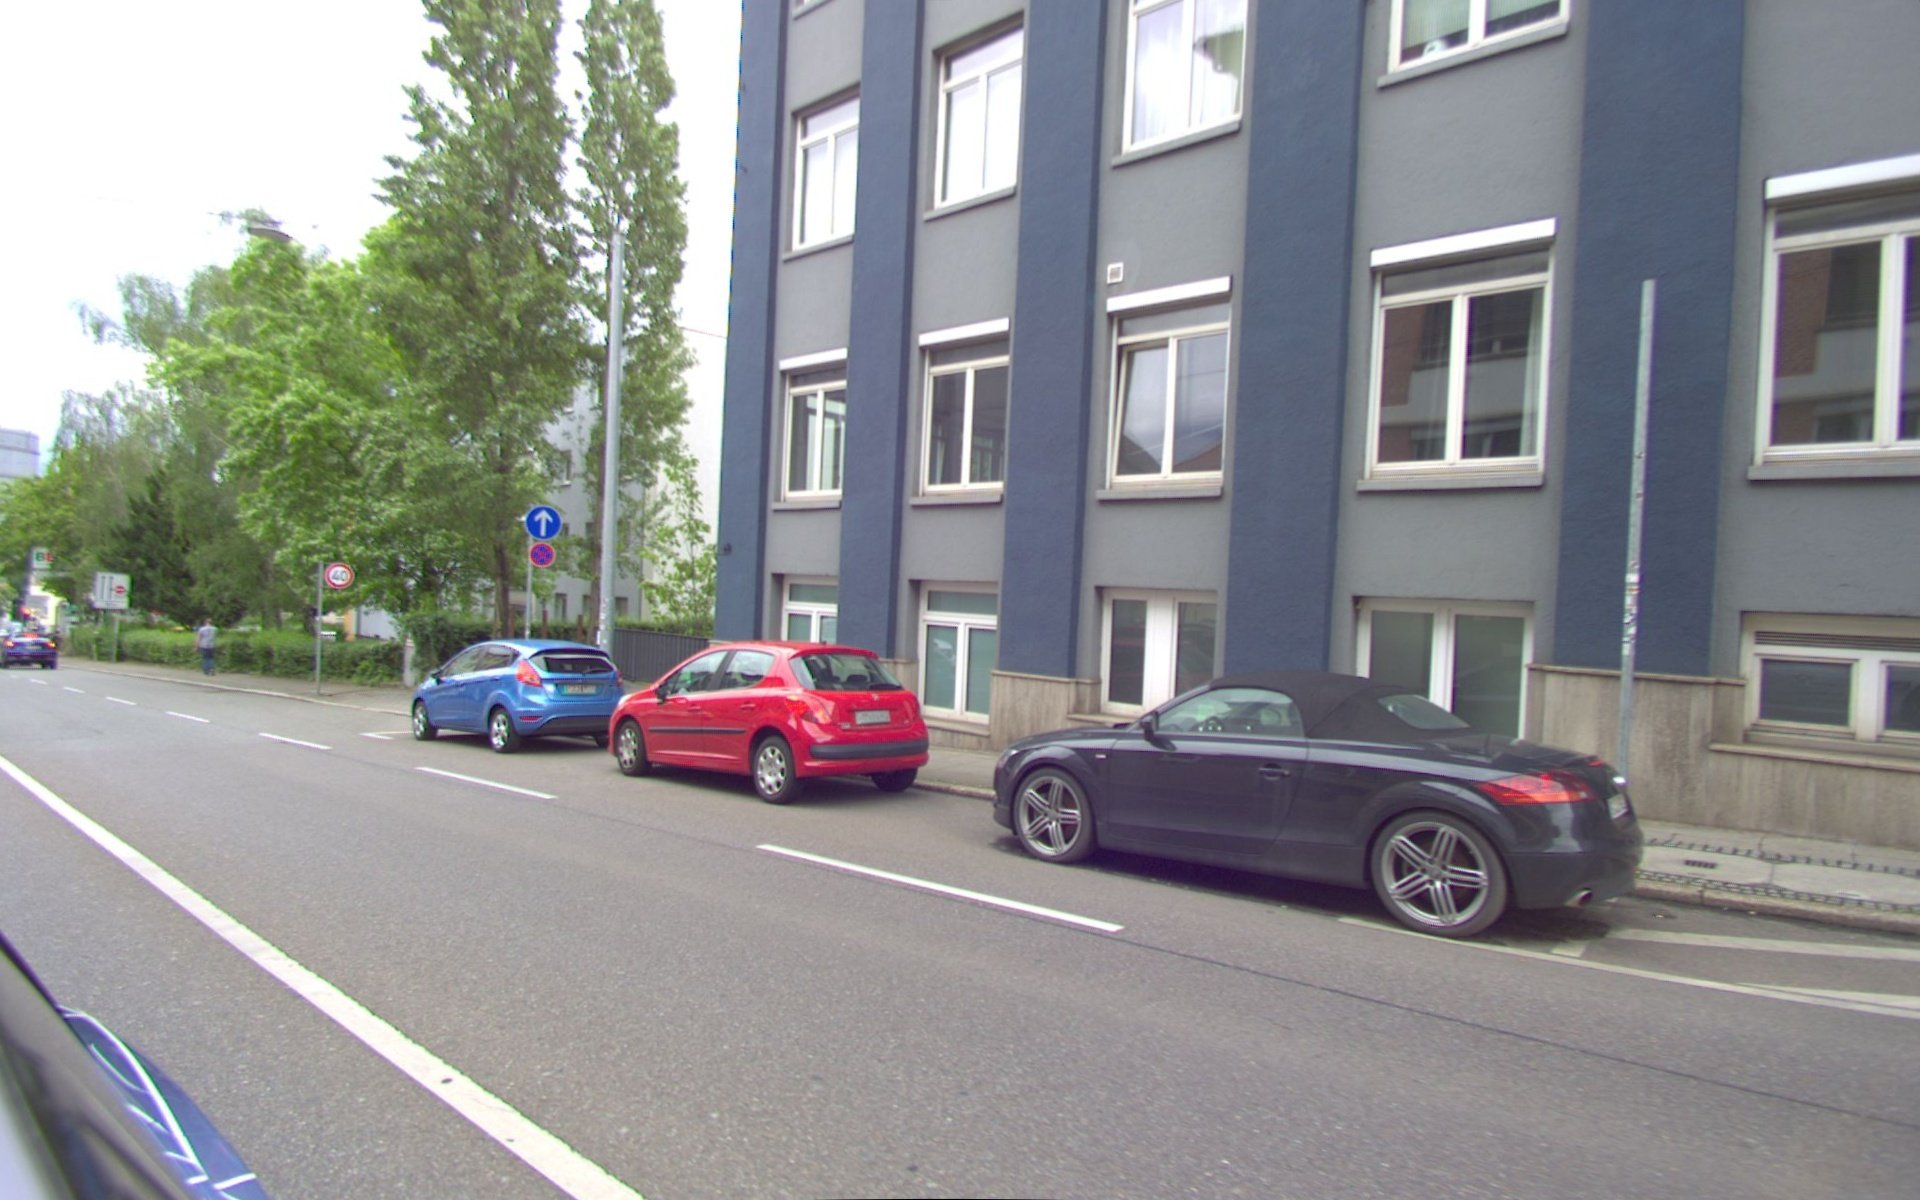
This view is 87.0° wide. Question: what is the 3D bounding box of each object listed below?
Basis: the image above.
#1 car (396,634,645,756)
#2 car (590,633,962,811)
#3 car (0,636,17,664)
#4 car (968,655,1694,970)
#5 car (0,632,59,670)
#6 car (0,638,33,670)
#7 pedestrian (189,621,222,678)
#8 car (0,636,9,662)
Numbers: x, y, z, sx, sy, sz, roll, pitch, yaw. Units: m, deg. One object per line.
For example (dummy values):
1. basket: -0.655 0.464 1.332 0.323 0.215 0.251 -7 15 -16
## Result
1. car: -6.202 1.229 14.134 3.724 1.465 1.702 -1 -4 40
2. car: -2.018 1.125 10.499 3.868 1.485 1.796 -2 -5 42
3. car: -49.704 2.529 51.844 3.726 1.427 1.701 -2 -4 42
4. car: 2.142 1.073 6.505 4.039 1.337 1.702 -2 -5 41
5. car: -38.594 2.092 41.733 3.726 1.495 1.701 -2 -4 42
6. car: -44.438 2.499 46.967 3.726 1.427 1.701 -2 -4 42
7. pedestrian: -25.150 1.625 33.748 0.776 1.864 0.736 -2 -2 42
8. car: -53.939 2.671 55.908 3.726 1.427 1.701 -2 -4 42
